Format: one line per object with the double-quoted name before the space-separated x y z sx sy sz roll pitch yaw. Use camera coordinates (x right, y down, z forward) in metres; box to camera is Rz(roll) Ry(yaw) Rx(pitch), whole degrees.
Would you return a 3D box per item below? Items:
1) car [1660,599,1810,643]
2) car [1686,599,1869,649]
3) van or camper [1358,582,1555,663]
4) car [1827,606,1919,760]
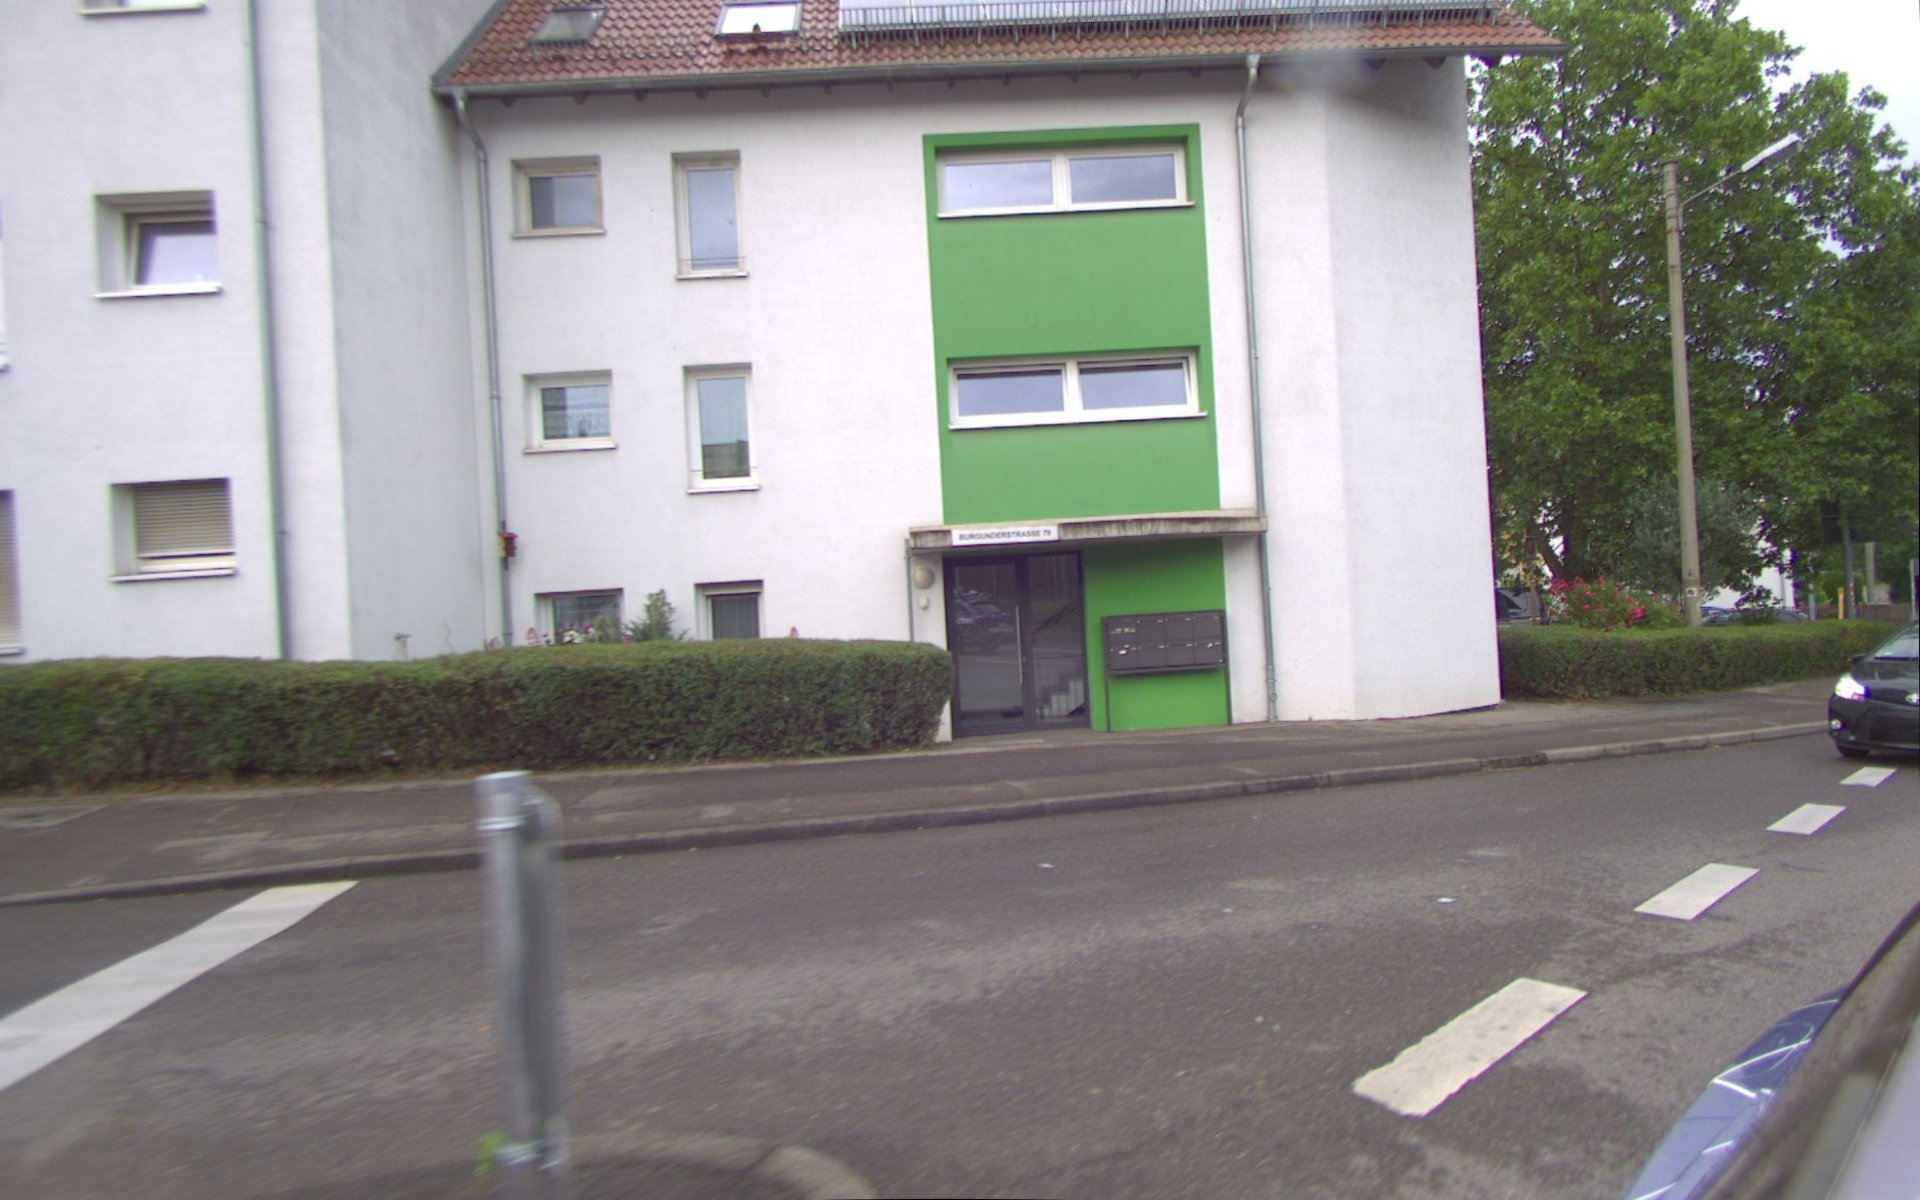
"car" 27.502 0.749 36.094 3.964 1.483 1.842 -1 -1 29
"car" 26.724 0.795 33.307 4.354 1.533 1.979 -2 -2 30
"van or camper" 12.611 0.604 25.808 4.290 1.928 1.979 -2 -2 30
"car" 10.998 0.786 10.625 3.920 1.477 1.646 0 -2 -31
